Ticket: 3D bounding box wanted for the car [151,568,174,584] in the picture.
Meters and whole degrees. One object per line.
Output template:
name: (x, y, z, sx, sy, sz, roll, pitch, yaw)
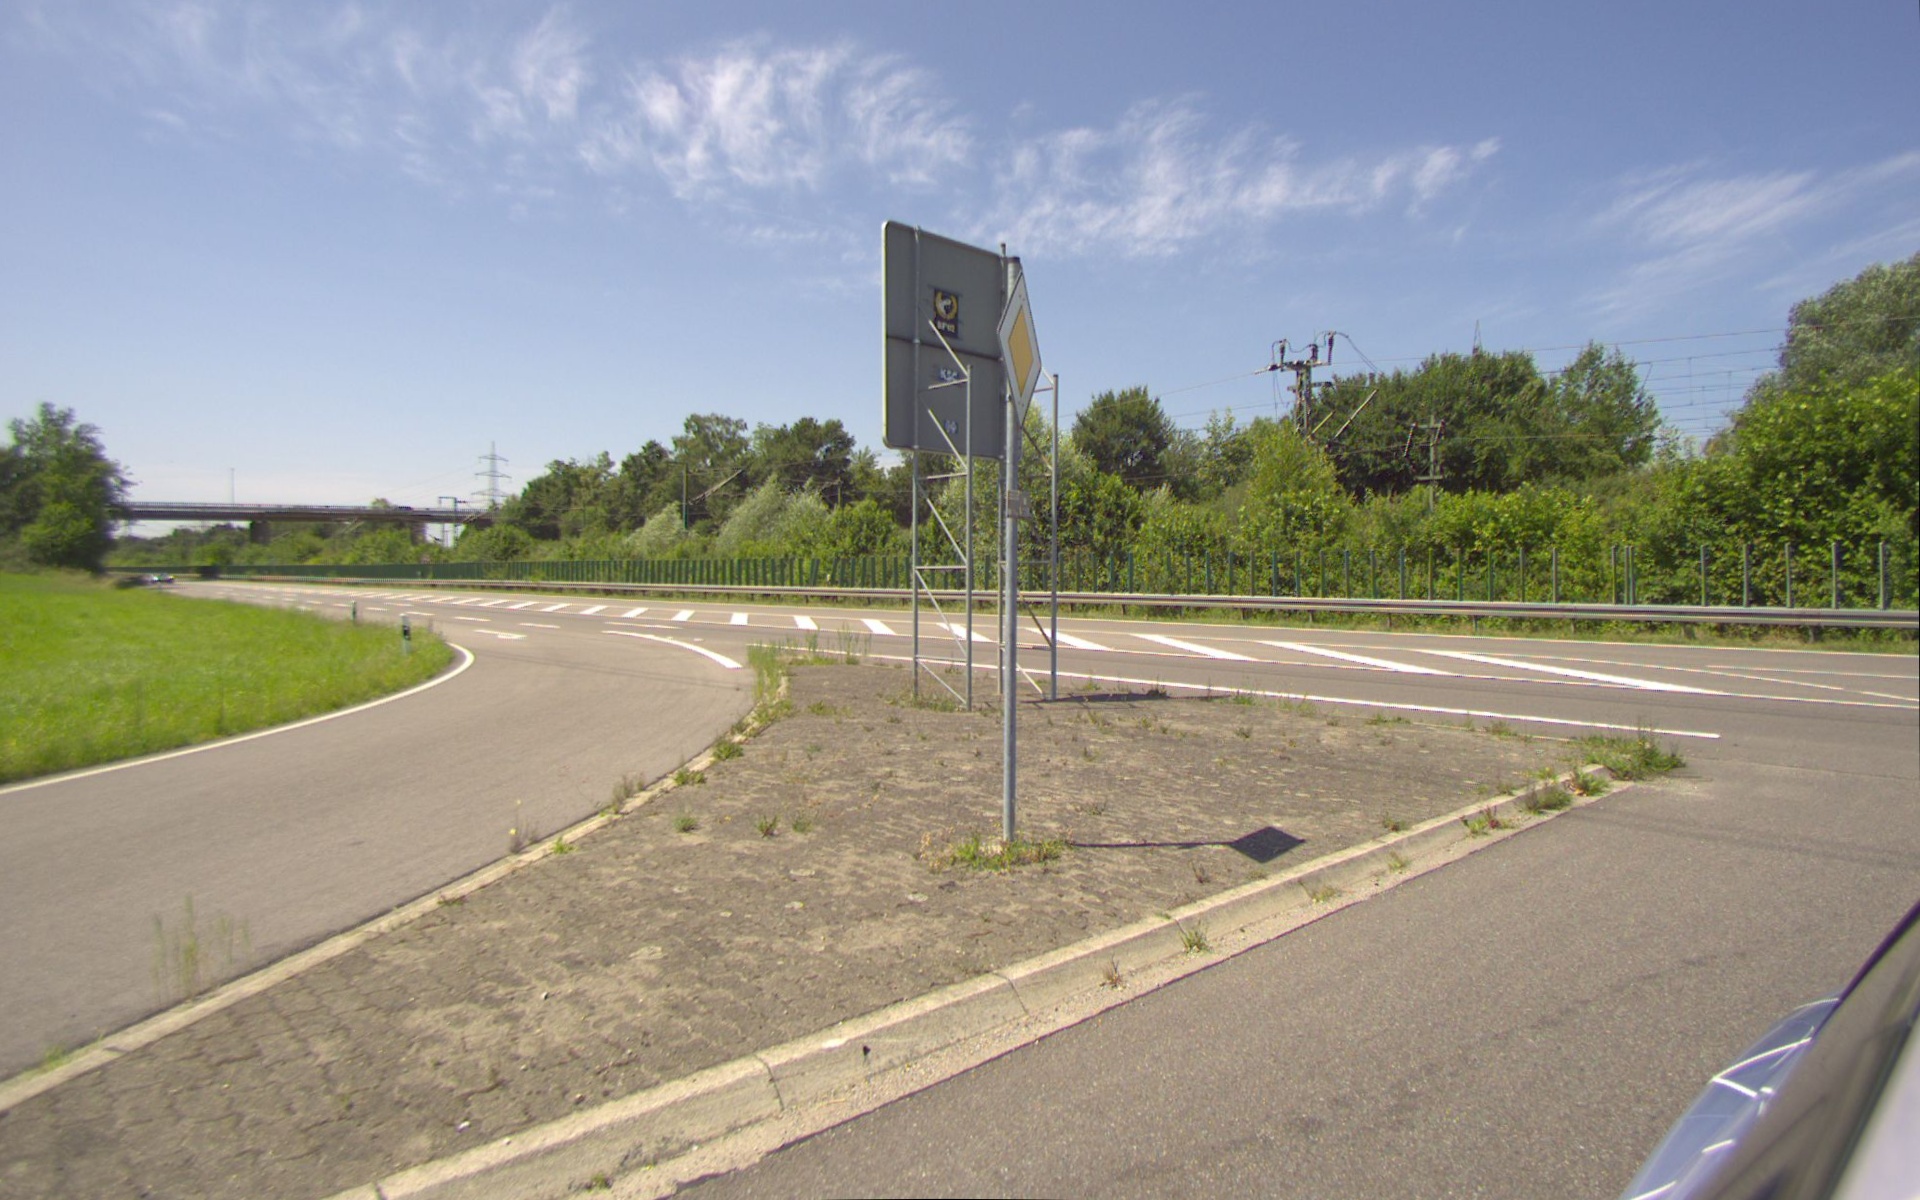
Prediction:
car: (-90.127, -2.767, 114.346, 1.696, 1.745, 3.992, -1, 2, -43)
